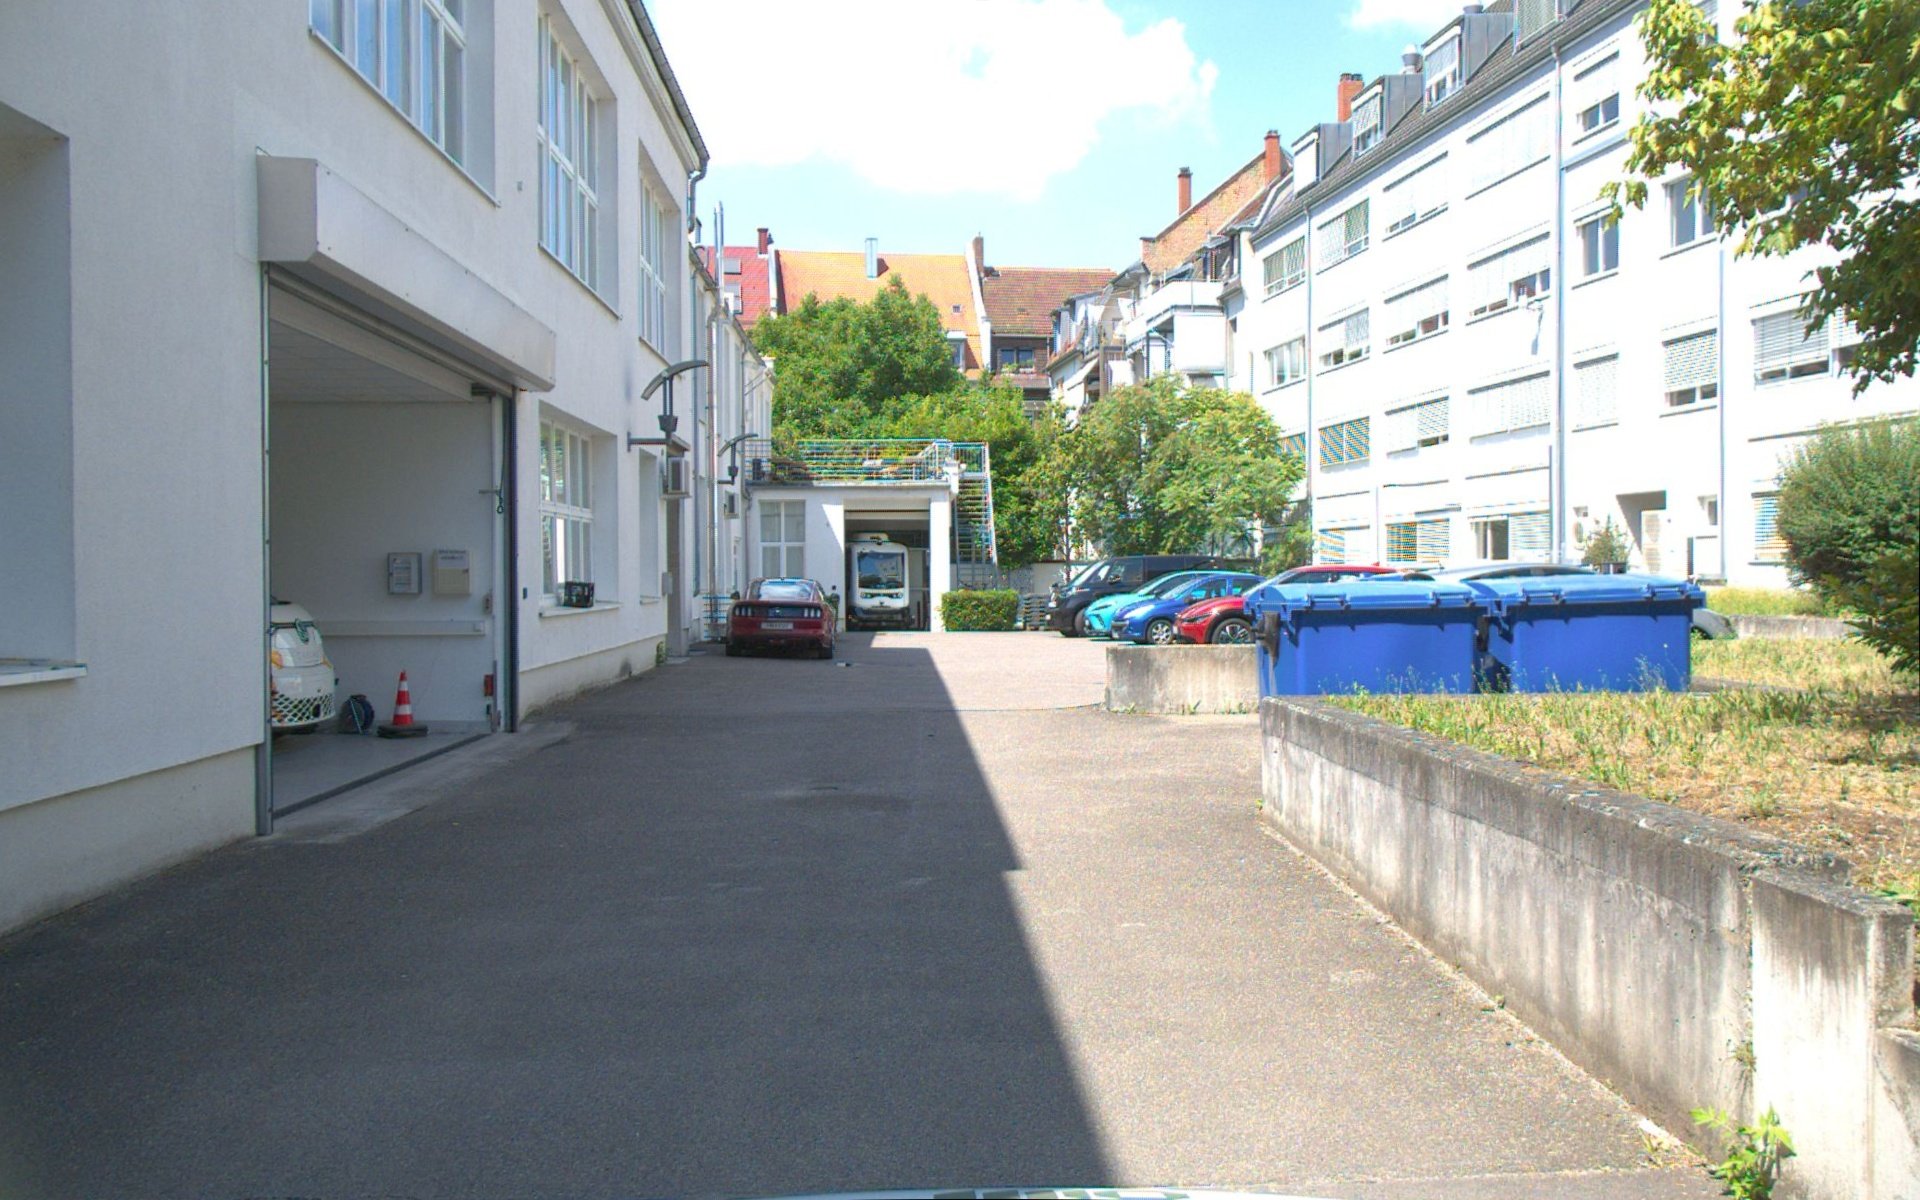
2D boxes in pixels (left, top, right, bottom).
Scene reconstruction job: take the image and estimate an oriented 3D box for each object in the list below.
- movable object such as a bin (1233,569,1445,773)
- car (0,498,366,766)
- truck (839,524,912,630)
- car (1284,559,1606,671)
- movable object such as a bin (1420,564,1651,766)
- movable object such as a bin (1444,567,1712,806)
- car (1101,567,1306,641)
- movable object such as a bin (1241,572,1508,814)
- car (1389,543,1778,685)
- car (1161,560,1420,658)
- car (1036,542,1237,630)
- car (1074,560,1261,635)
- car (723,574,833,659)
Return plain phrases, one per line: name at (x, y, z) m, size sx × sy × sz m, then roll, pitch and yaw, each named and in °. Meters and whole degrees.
movable object such as a bin at (2.667, 0.468, 11.786) m, size 1.169 × 1.350 × 1.159 m, roll -1°, pitch 1°, yaw -4°
car at (-7.479, 0.224, 13.722) m, size 4.389 × 2.060 × 1.980 m, roll 0°, pitch 1°, yaw -2°
truck at (-2.551, -0.679, 49.034) m, size 1.754 × 2.988 × 4.645 m, roll -1°, pitch 1°, yaw -8°
car at (6.678, 0.176, 23.005) m, size 3.909 × 1.414 × 1.803 m, roll -1°, pitch 1°, yaw -4°
movable object such as a bin at (4.083, 0.430, 11.847) m, size 1.192 × 1.350 × 1.159 m, roll -1°, pitch 1°, yaw -4°
movable object such as a bin at (3.730, 0.485, 10.100) m, size 1.191 × 1.350 × 1.160 m, roll -1°, pitch 1°, yaw 0°
car at (5.023, 0.063, 34.362) m, size 3.909 × 1.414 × 1.803 m, roll -1°, pitch 1°, yaw -4°
movable object such as a bin at (2.463, 0.520, 10.016) m, size 1.311 × 1.350 × 1.160 m, roll -1°, pitch 1°, yaw 0°
car at (7.269, 0.133, 19.513) m, size 3.909 × 1.504 × 1.803 m, roll -1°, pitch 1°, yaw -4°
car at (5.484, 0.126, 27.739) m, size 3.909 × 1.504 × 1.803 m, roll -1°, pitch 1°, yaw -4°
car at (4.253, -0.364, 40.344) m, size 4.586 × 1.992 × 2.075 m, roll -1°, pitch 1°, yaw -5°
car at (4.637, -0.081, 37.324) m, size 3.909 × 1.561 × 1.803 m, roll -1°, pitch 1°, yaw -4°
car at (-3.219, 0.245, 29.876) m, size 1.763 × 1.414 × 3.998 m, roll 0°, pitch 1°, yaw -3°
